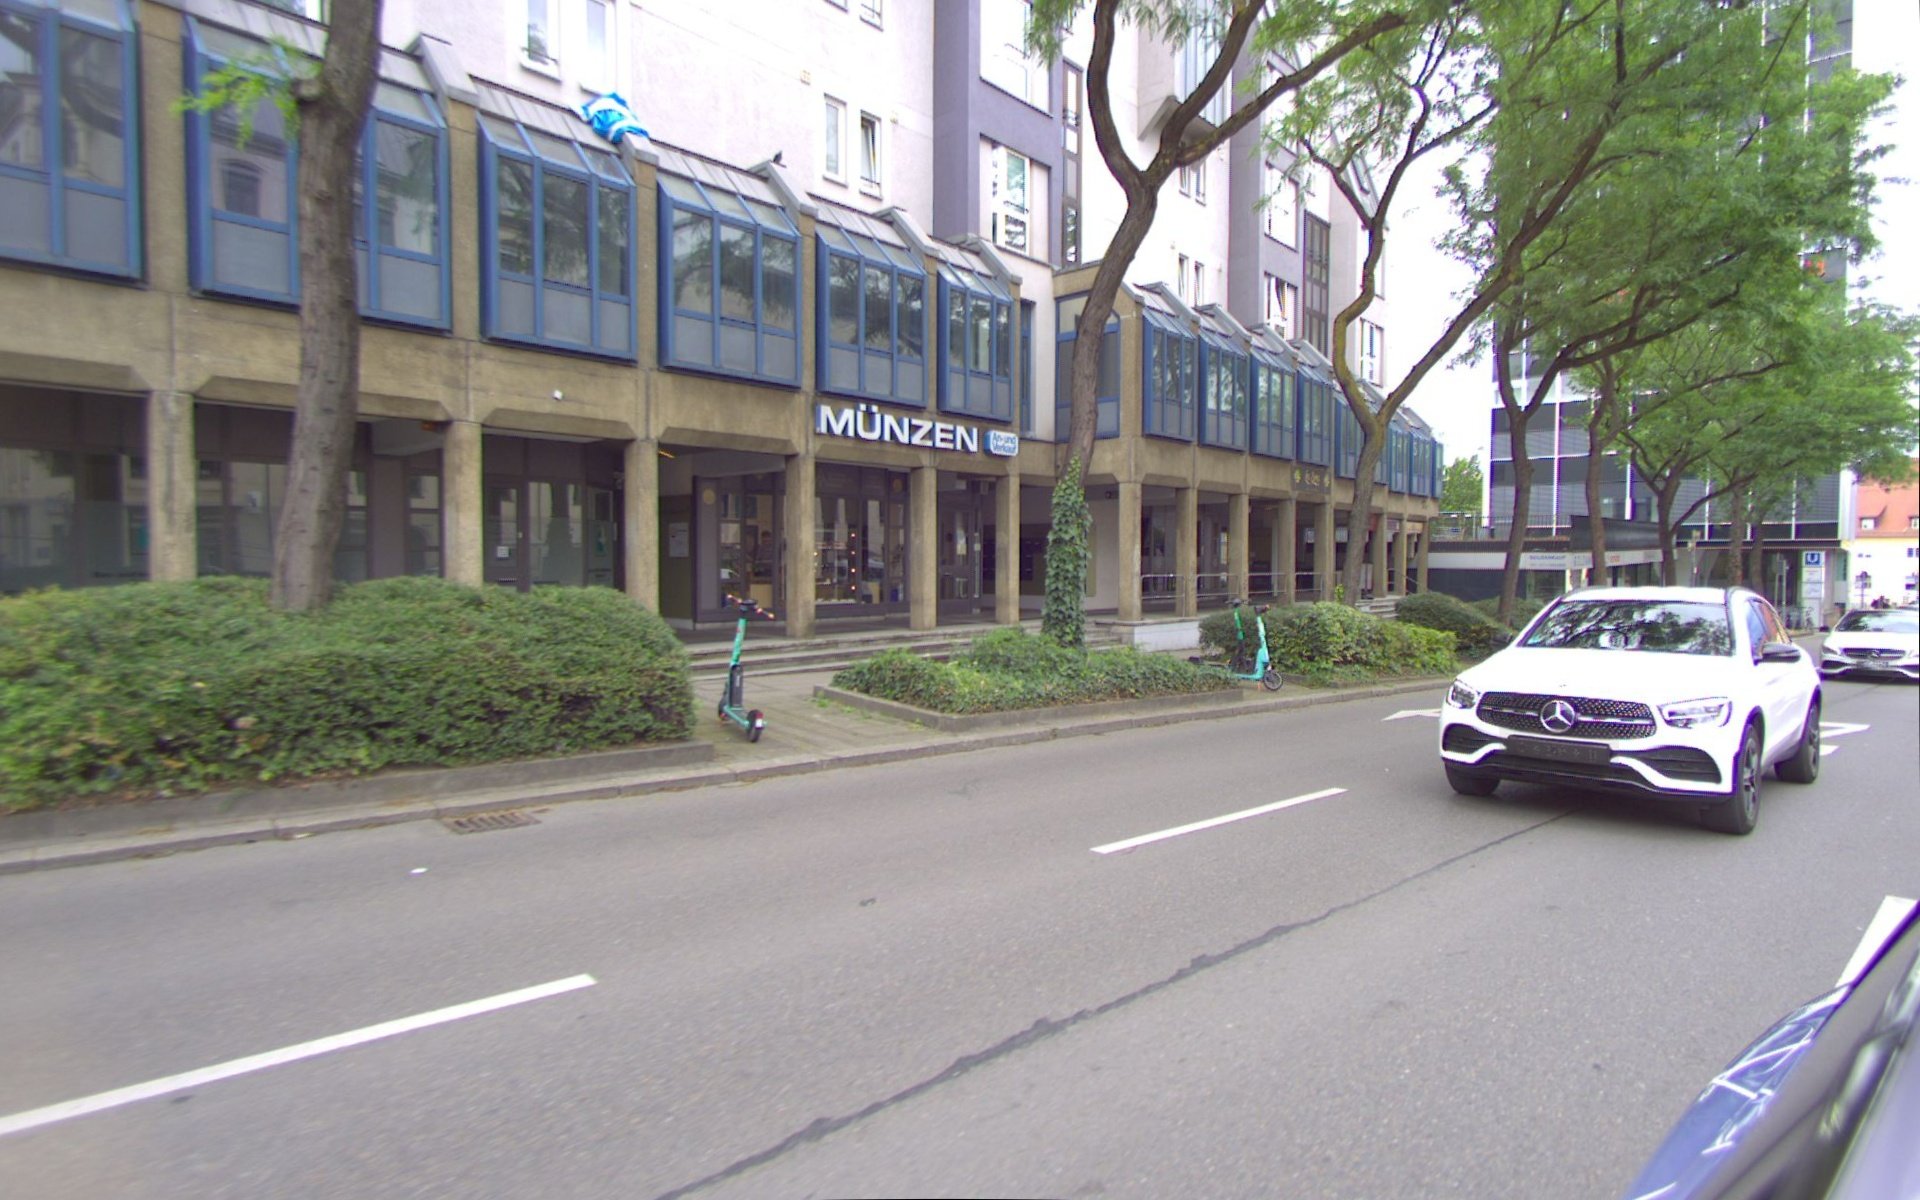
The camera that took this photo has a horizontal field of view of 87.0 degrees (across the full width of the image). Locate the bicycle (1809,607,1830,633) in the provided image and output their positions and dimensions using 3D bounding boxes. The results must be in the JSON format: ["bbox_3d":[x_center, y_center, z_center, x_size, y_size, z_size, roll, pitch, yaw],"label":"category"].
[{"bbox_3d":[39.308,0.895,46.288,1.812,1.146,0.490,0,2,-43],"label":"bicycle"}]

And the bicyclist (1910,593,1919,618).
[{"bbox_3d":[60.812,0.364,64.126,0.558,1.568,0.841,2,2,19],"label":"bicyclist"}]

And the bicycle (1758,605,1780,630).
[{"bbox_3d":[38.271,0.825,47.867,1.659,1.146,0.490,0,1,-41],"label":"bicycle"}]

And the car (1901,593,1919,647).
[{"bbox_3d":[29.625,0.619,30.360,3.699,1.552,1.706,1,2,-42],"label":"car"}]

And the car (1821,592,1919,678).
[{"bbox_3d":[19.265,0.648,20.797,4.573,1.589,1.868,0,0,-43],"label":"car"}]

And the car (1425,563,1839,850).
[{"bbox_3d":[5.499,0.617,8.038,4.262,1.667,1.803,-1,-1,-44],"label":"car"}]

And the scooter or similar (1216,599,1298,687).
[{"bbox_3d":[4.382,0.611,14.985,0.419,1.196,1.112,1,2,-31],"label":"scooter or similar"}]

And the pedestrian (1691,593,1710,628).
[{"bbox_3d":[35.880,0.511,49.019,0.595,1.649,0.746,3,2,43],"label":"pedestrian"}]

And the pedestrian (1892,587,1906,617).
[{"bbox_3d":[56.272,0.132,60.657,0.525,1.732,0.741,4,4,43],"label":"pedestrian"}]

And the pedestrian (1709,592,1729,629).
[{"bbox_3d":[36.419,0.498,48.556,0.595,1.775,0.926,3,2,43],"label":"pedestrian"}]

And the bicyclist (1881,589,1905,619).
[{"bbox_3d":[58.717,0.251,63.692,0.661,1.868,0.816,1,3,-17],"label":"bicyclist"}]

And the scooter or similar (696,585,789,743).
[{"bbox_3d":[-2.034,0.552,9.383,0.417,1.300,1.167,1,3,-32],"label":"scooter or similar"}]

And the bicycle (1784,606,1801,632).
[{"bbox_3d":[38.729,0.863,47.079,0.489,1.146,1.858,2,2,42],"label":"bicycle"}]

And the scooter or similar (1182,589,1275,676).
[{"bbox_3d":[4.299,0.498,16.226,0.712,1.284,1.198,1,3,-41],"label":"scooter or similar"}]

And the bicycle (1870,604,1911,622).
[{"bbox_3d":[58.651,0.803,63.803,0.666,1.019,1.772,3,2,-17],"label":"bicycle"}]
